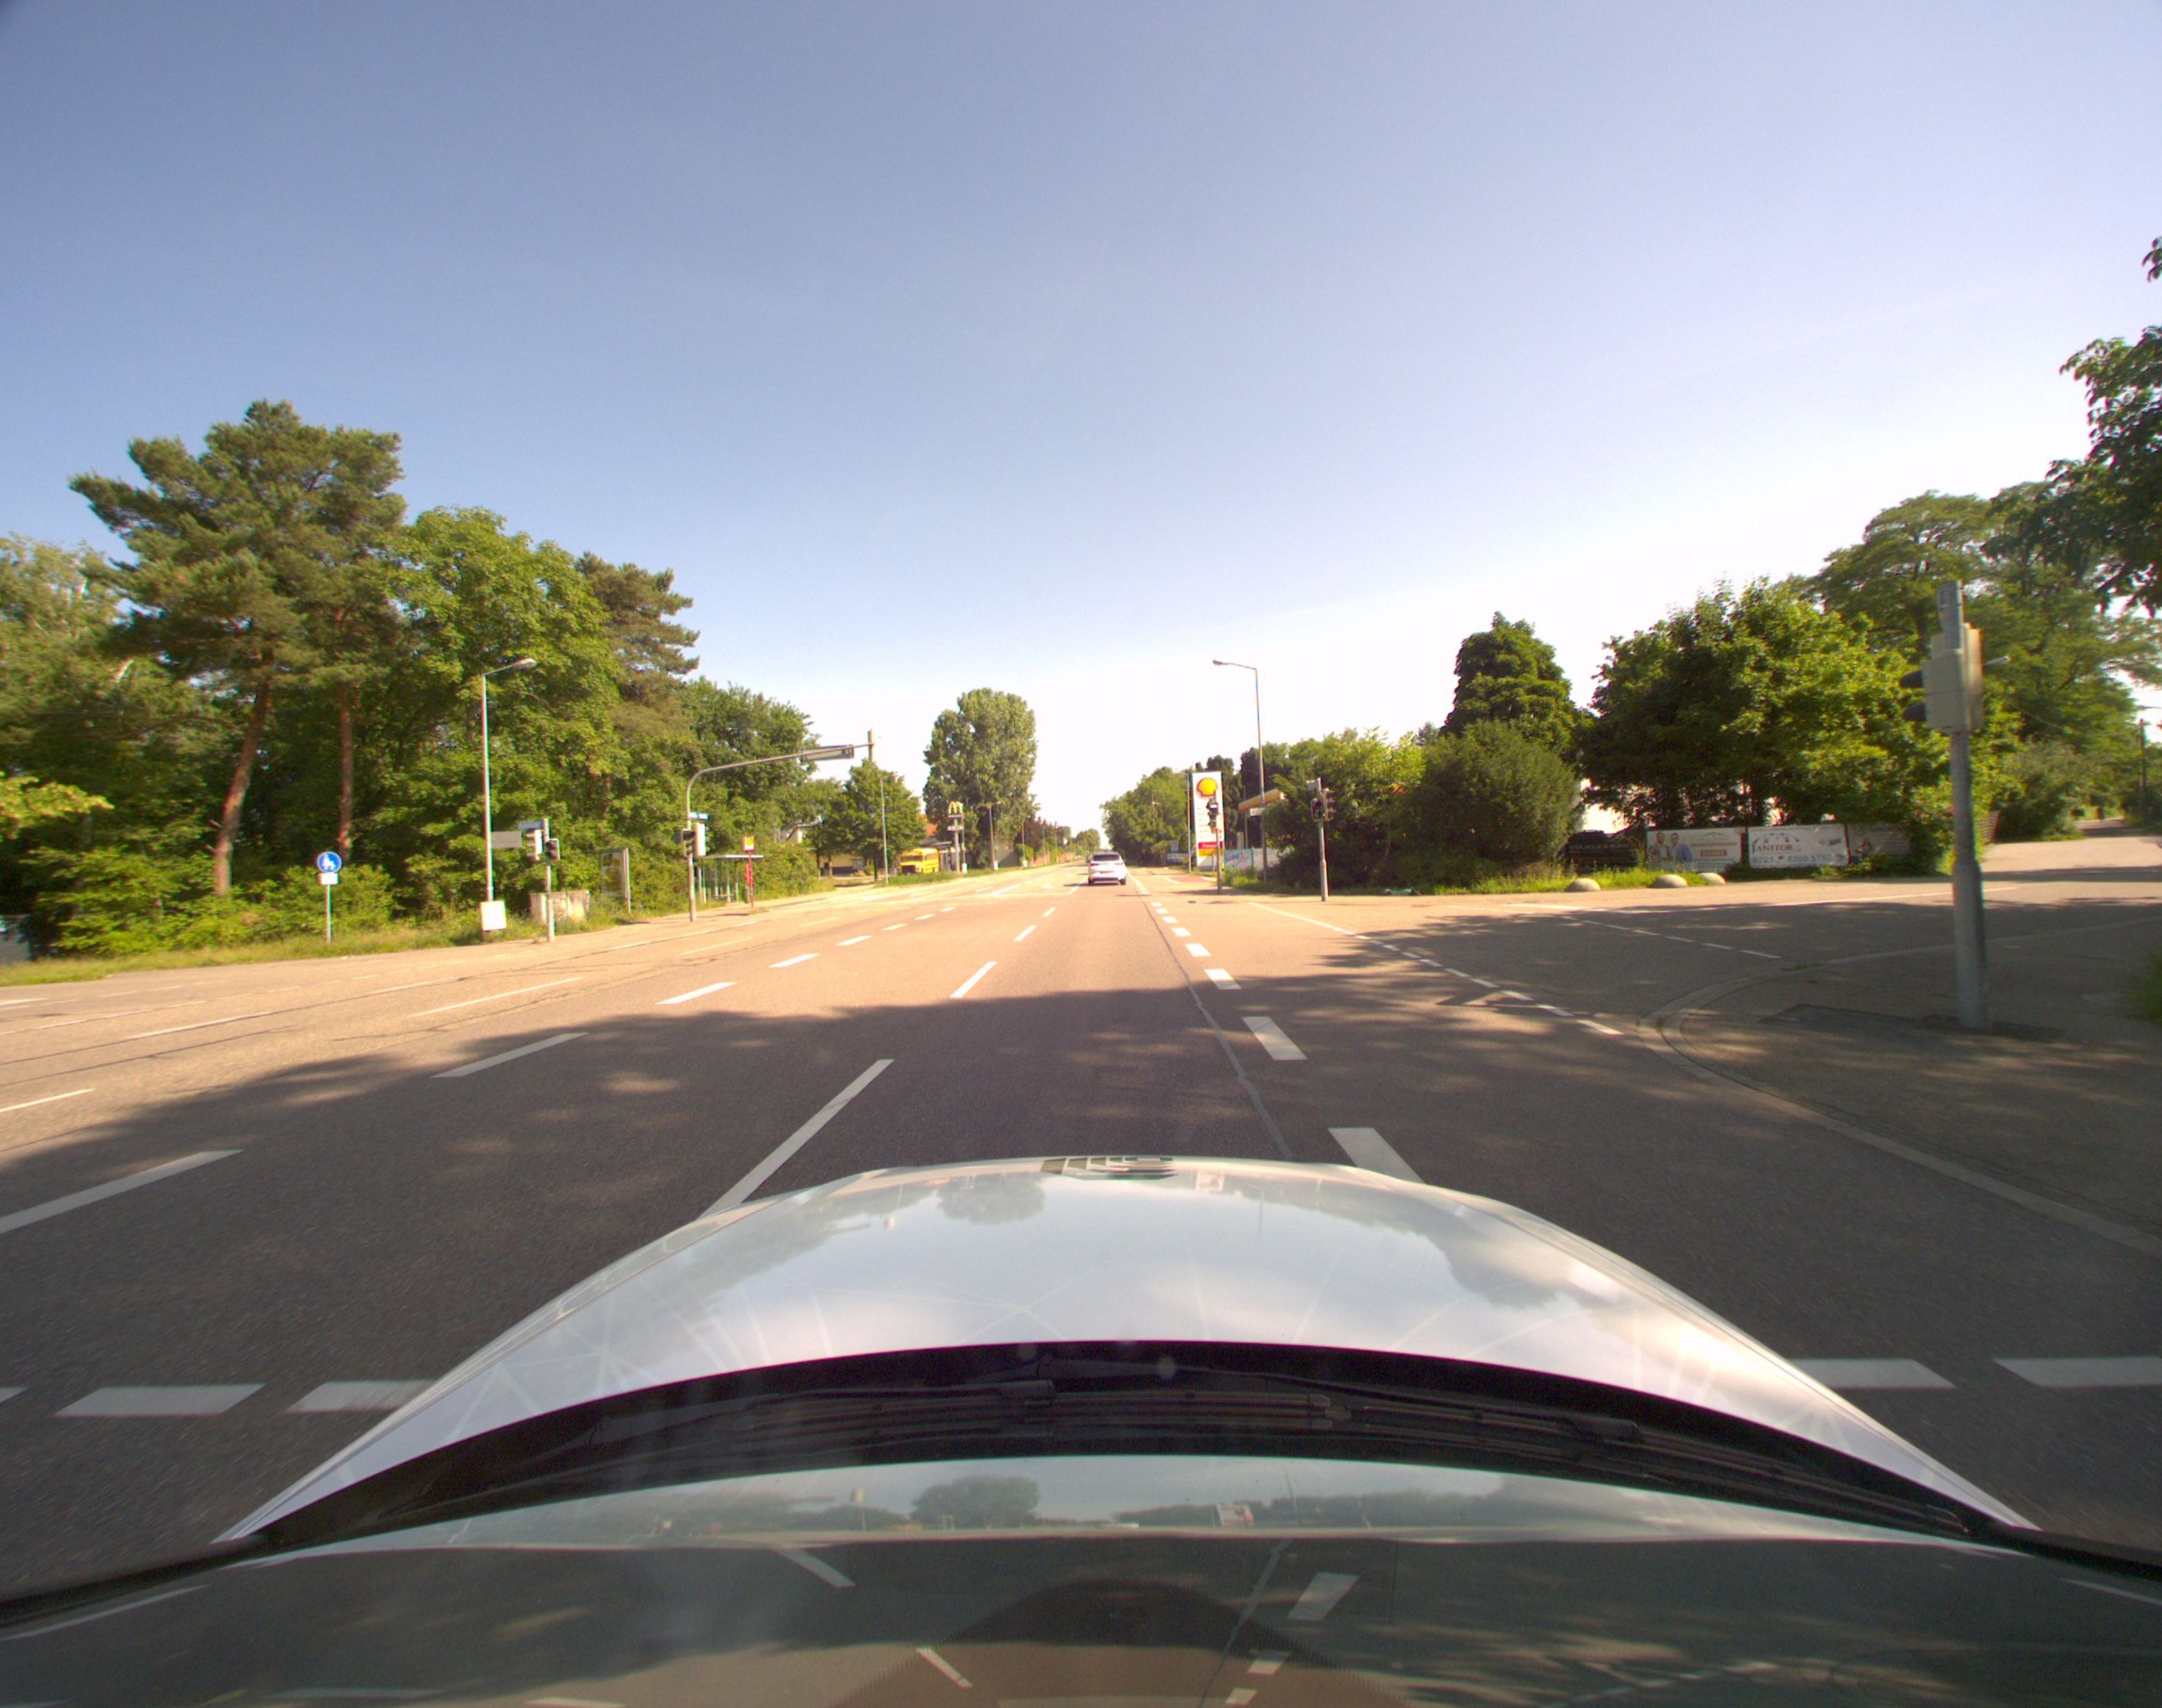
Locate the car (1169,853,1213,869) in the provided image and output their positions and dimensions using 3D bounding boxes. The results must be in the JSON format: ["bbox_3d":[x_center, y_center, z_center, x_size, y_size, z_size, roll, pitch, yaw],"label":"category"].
[{"bbox_3d":[10.657,0.690,79.021,3.981,1.530,1.583,-1,-1,-5],"label":"car"}]

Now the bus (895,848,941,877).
[{"bbox_3d":[-16.034,0.830,80.750,2.570,2.679,8.996,-1,-1,0],"label":"bus"}]

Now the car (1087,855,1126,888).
[{"bbox_3d":[1.295,0.856,40.699,1.839,1.541,4.227,-1,-1,2],"label":"car"}]

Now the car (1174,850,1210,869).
[{"bbox_3d":[9.644,0.490,71.087,1.587,1.530,2.697,0,-2,-44],"label":"car"}]
